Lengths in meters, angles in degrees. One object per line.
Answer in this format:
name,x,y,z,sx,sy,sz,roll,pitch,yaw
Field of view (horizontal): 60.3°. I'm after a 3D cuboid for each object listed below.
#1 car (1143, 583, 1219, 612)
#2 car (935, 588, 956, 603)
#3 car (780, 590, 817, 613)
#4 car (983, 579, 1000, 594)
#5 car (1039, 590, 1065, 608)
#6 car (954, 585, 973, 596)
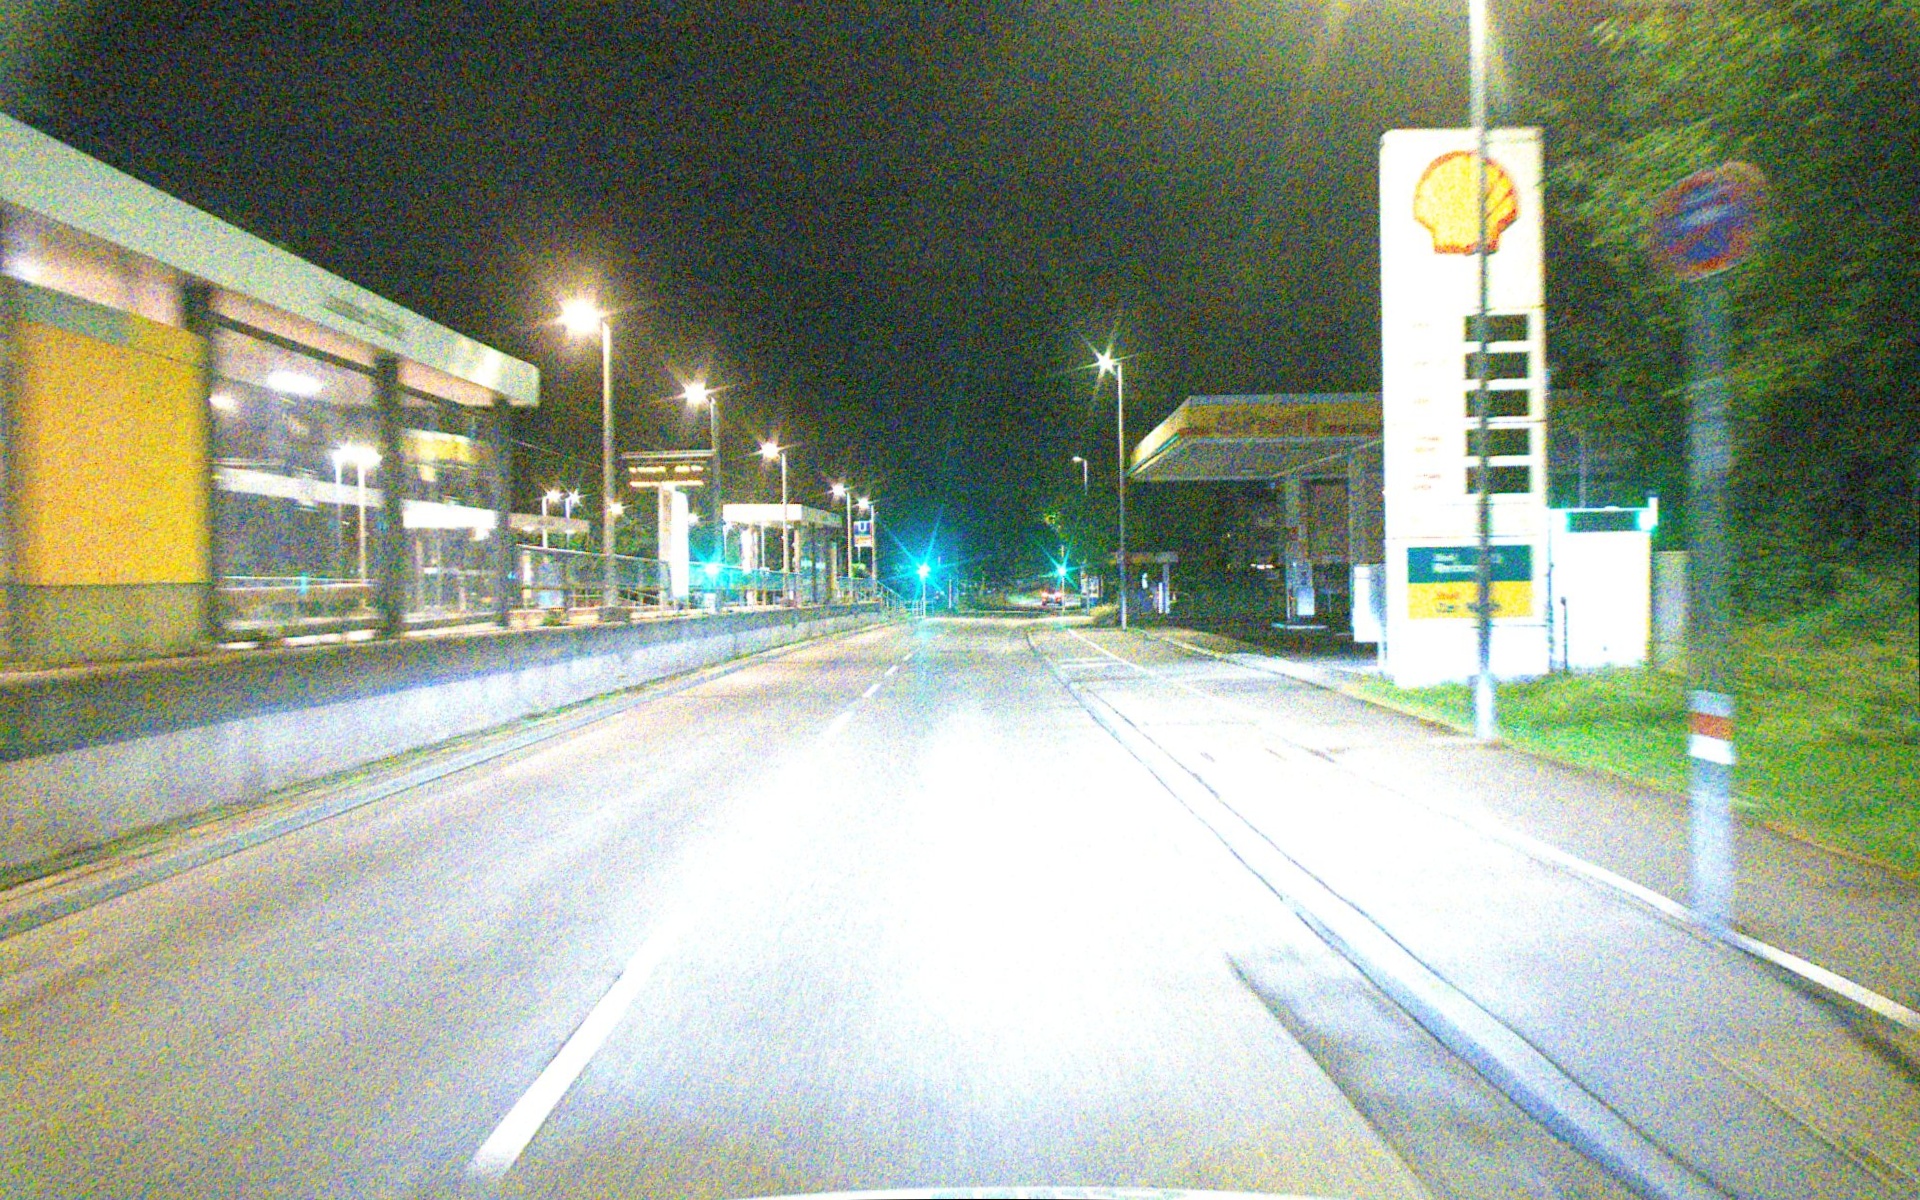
car,11.118,-0.118,83.345,3.685,1.378,1.860,-1,0,4
car,-1.718,-0.553,194.370,1.951,1.656,4.681,-1,0,6
car,-11.003,0.114,112.987,1.611,1.362,4.546,-5,0,6
car,4.712,-2.020,244.206,2.048,2.048,4.003,-5,1,6
car,8.402,-0.058,150.527,2.116,1.610,4.016,0,0,6
car,0.458,-1.273,213.849,1.951,1.361,5.436,-1,1,6
